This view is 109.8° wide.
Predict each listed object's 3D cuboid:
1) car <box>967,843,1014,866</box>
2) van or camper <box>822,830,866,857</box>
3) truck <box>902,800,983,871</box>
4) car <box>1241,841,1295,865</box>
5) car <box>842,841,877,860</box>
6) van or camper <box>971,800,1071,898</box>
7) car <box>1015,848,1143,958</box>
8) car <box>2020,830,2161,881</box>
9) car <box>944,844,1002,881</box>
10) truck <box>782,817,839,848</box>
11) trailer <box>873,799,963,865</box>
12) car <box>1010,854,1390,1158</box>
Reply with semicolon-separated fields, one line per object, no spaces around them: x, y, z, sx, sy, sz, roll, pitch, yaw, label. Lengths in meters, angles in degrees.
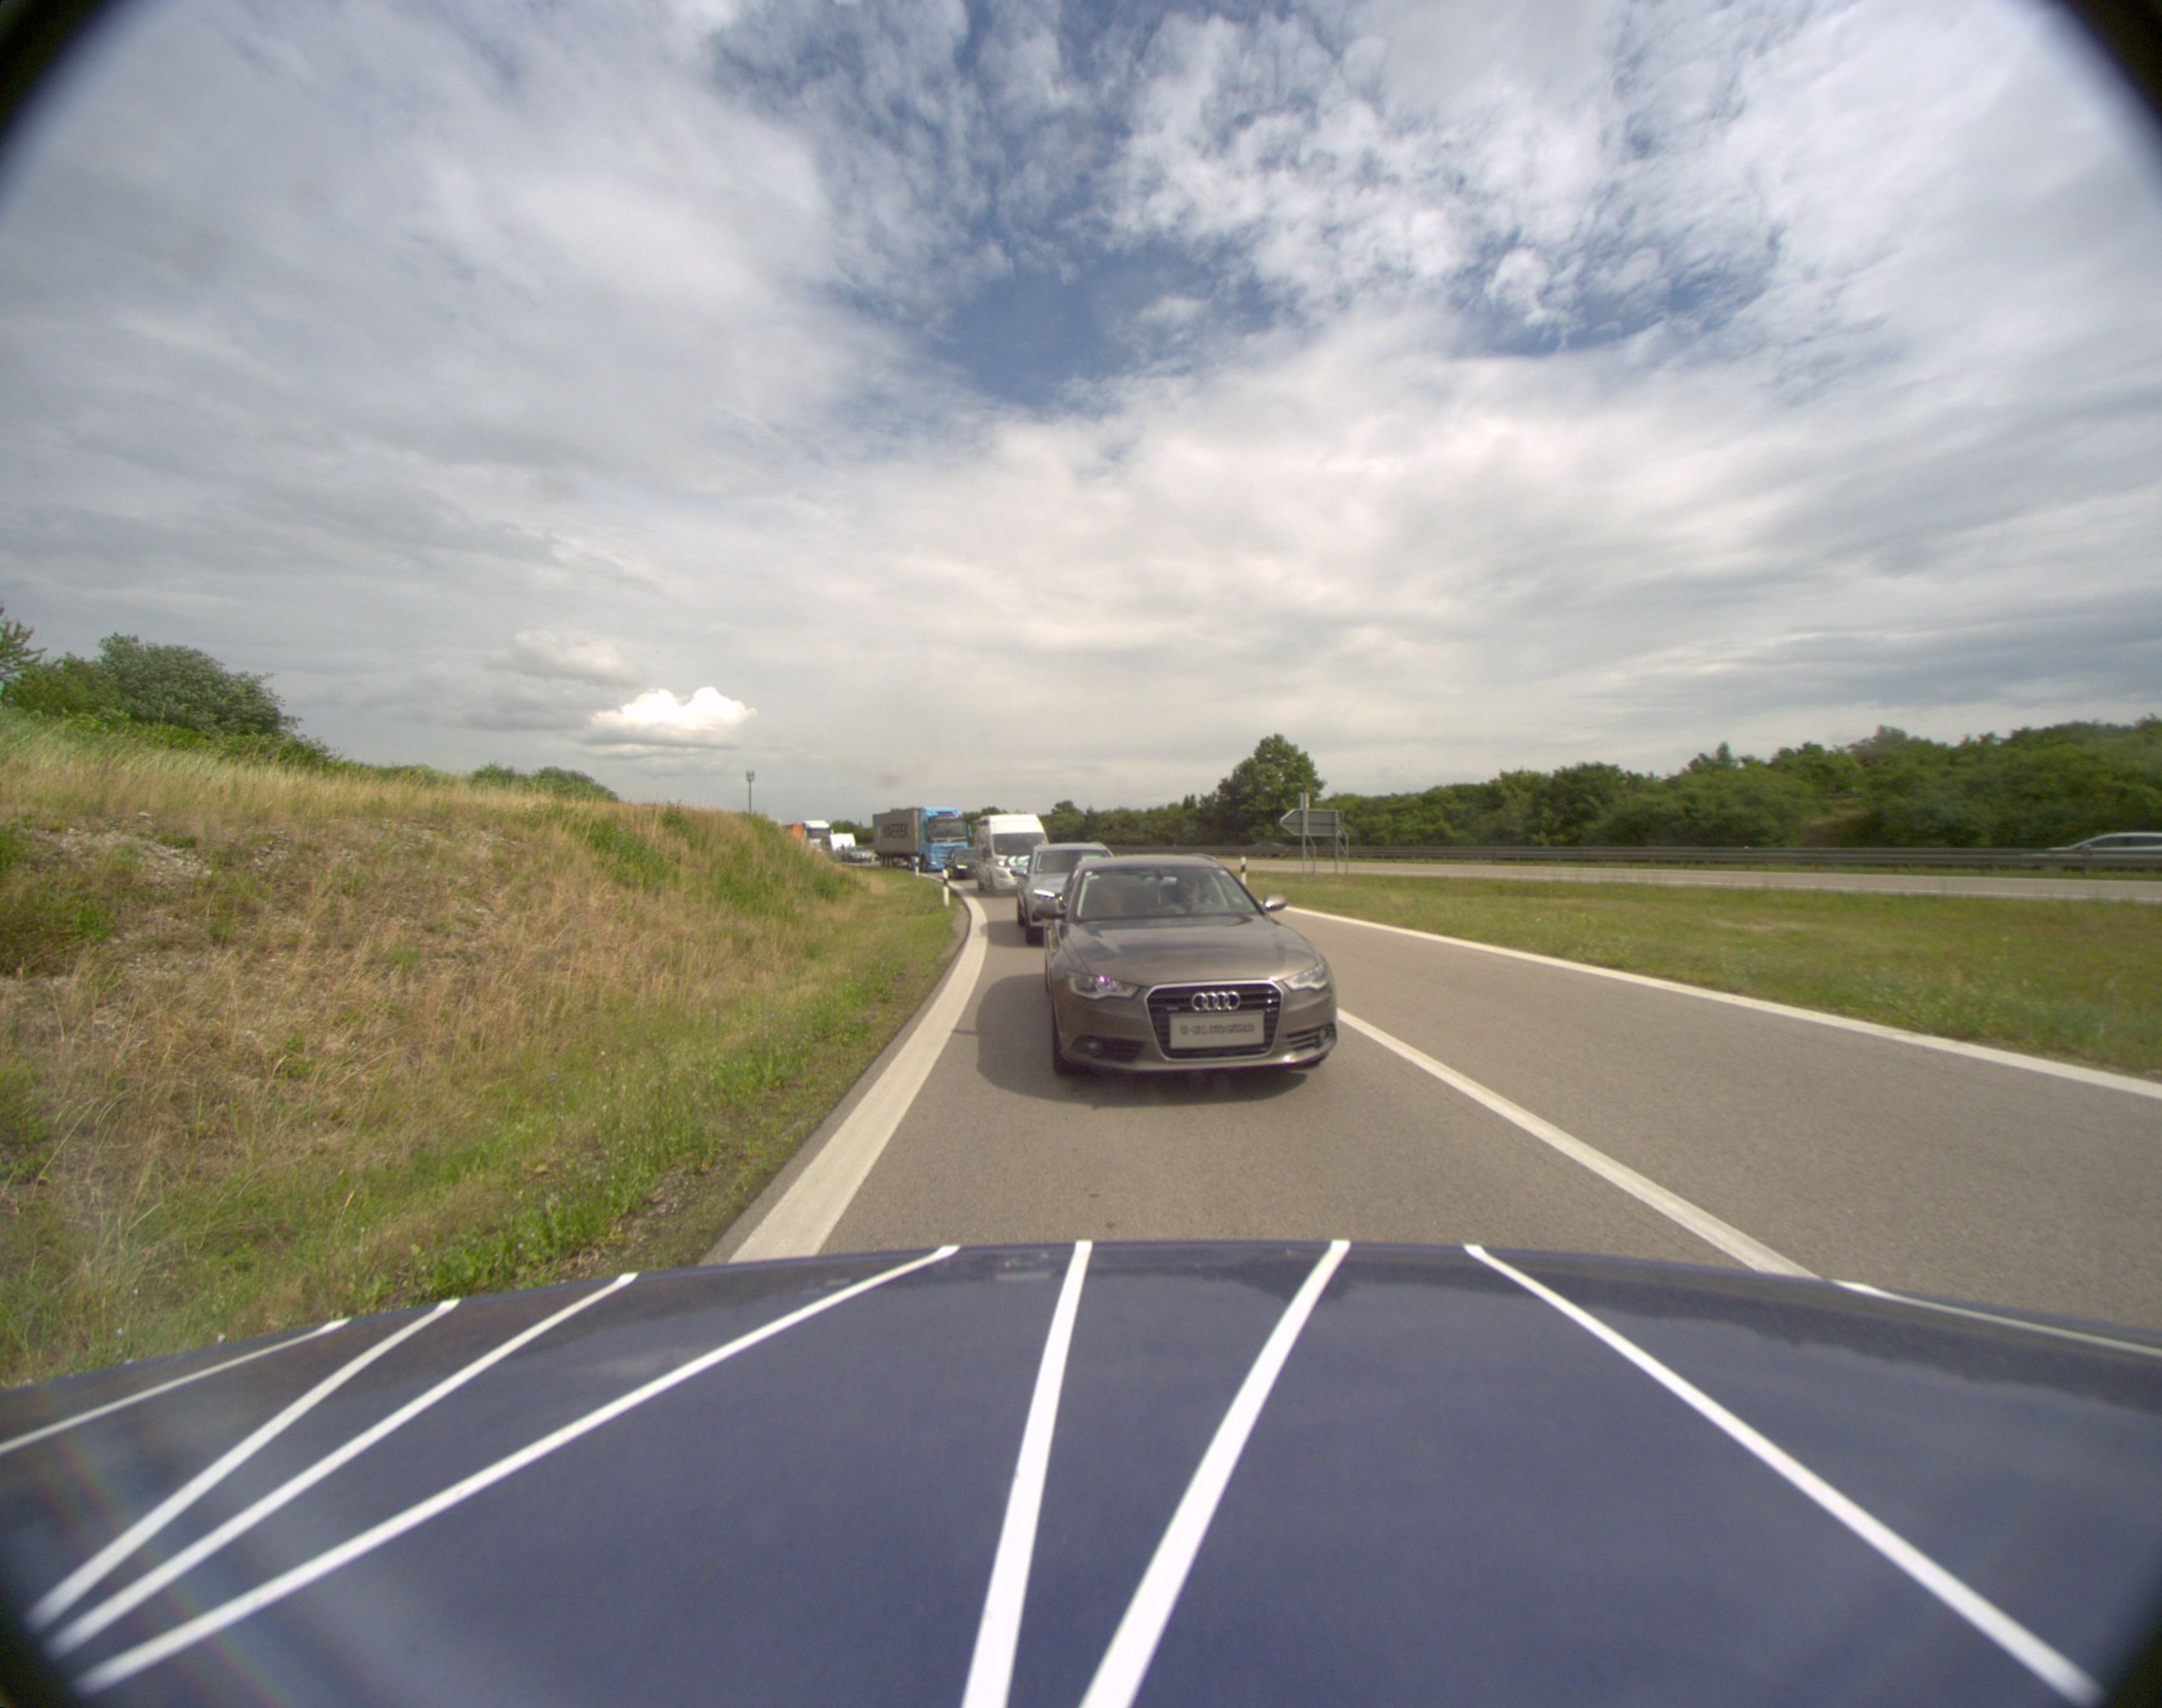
-6.384;-0.004;53.121;2.030;1.568;4.577;-1;1;-23;car
-22.260;-1.051;71.269;2.557;2.200;5.693;-3;5;-31;van or camper
-8.828;-1.115;47.805;3.184;4.050;6.632;-3;1;-26;truck
15.431;-0.041;62.906;1.847;1.862;4.196;-3;1;-34;car
-19.275;-0.308;66.148;2.003;1.521;3.989;-2;3;-30;car
-2.207;-0.173;25.878;2.400;2.892;5.713;-2;1;-14;van or camper
-0.200;0.717;13.494;1.843;1.587;4.170;-1;1;-6;car
36.044;0.016;26.535;2.004;1.674;3.989;-1;2;-36;car
-5.293;0.365;36.774;2.002;1.609;3.992;-1;2;-19;car
-30.087;-2.333;84.129;3.131;3.220;11.130;-2;2;-34;truck
-11.776;-1.393;53.758;3.280;4.137;11.991;-3;1;-26;trailer
0.613;0.814;6.329;1.999;1.506;4.537;-2;1;-1;car
